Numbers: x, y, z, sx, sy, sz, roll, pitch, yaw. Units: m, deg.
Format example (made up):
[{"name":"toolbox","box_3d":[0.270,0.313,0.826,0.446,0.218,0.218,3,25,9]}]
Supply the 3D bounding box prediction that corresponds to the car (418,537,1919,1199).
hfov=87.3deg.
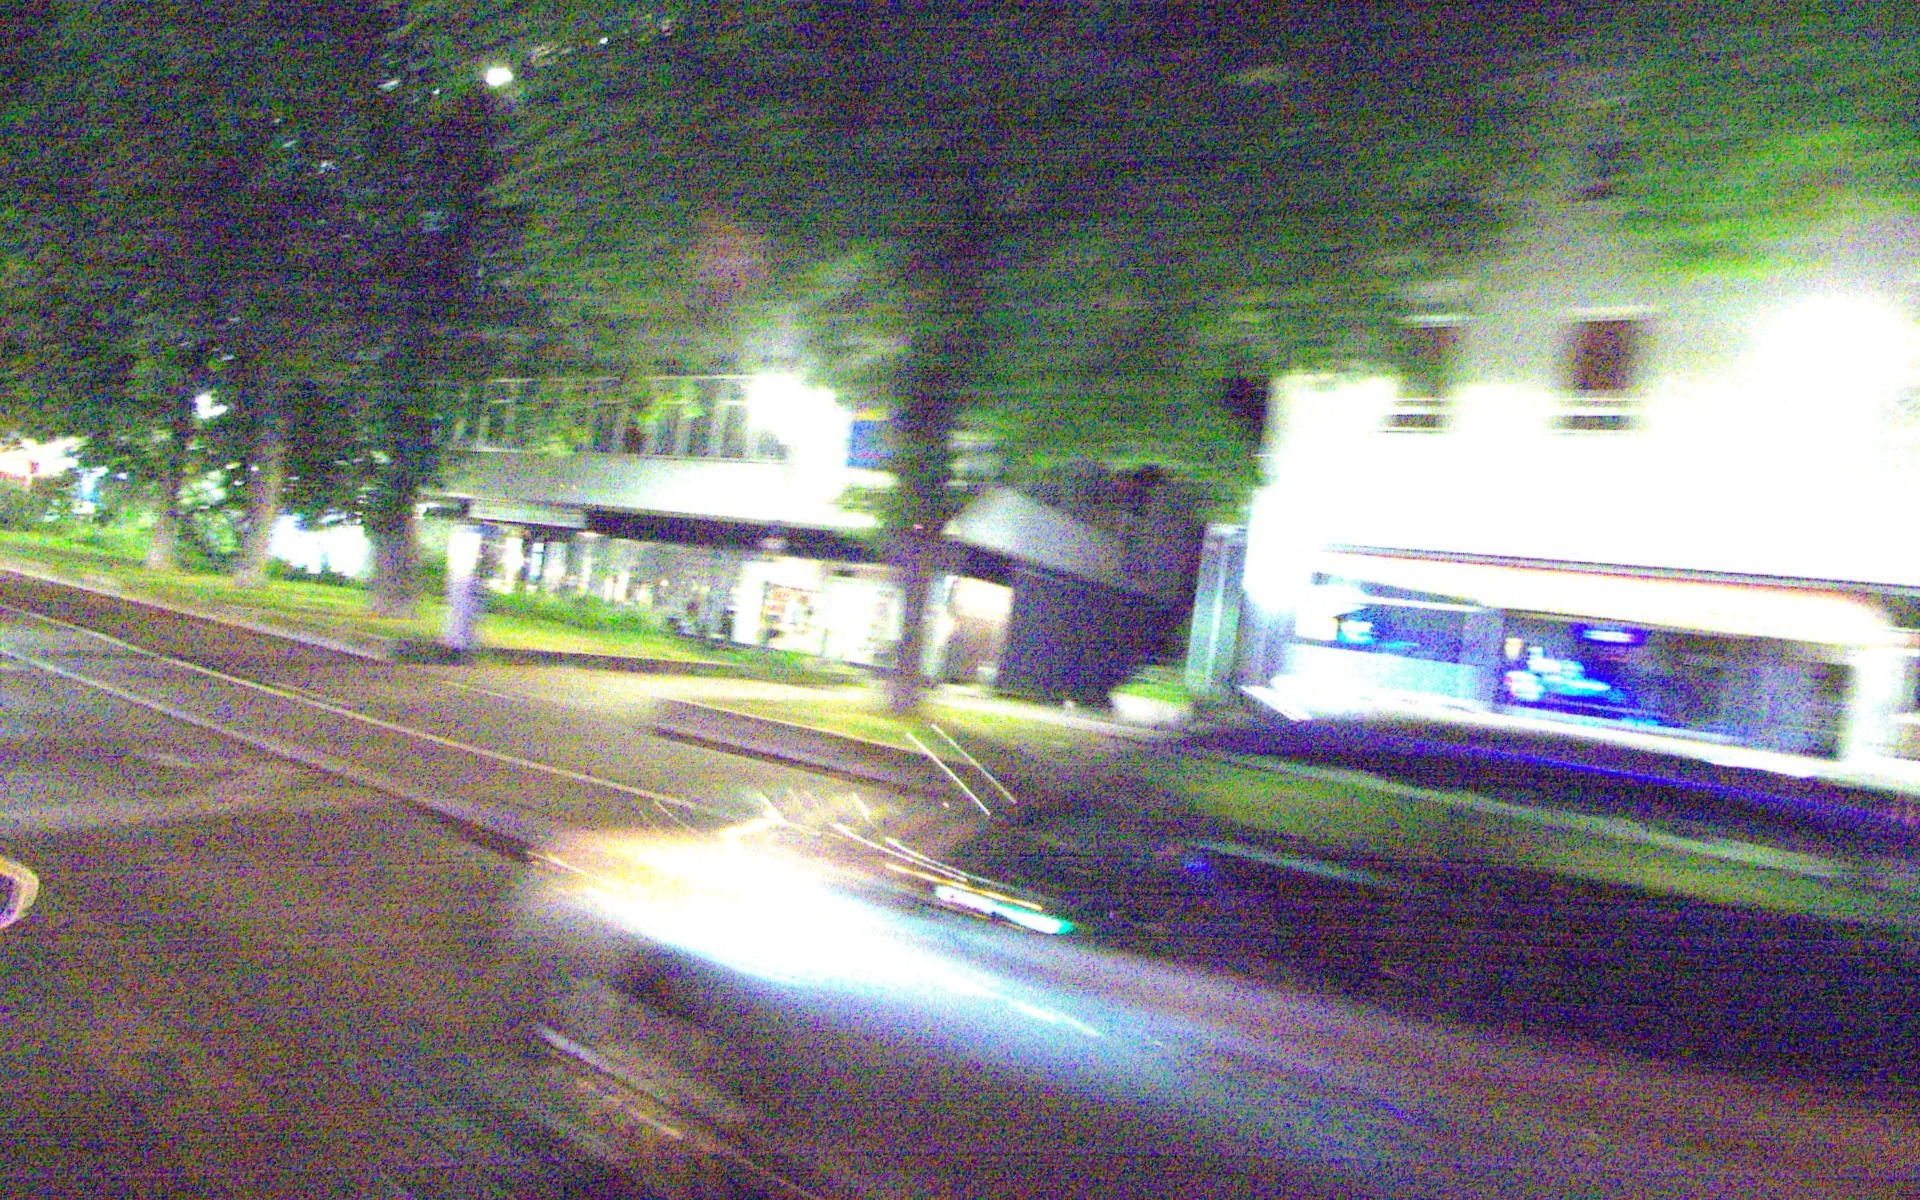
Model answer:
[{"name":"car","box_3d":[0.656,0.863,2.526,3.949,1.555,1.692,7,-1,32]}]
